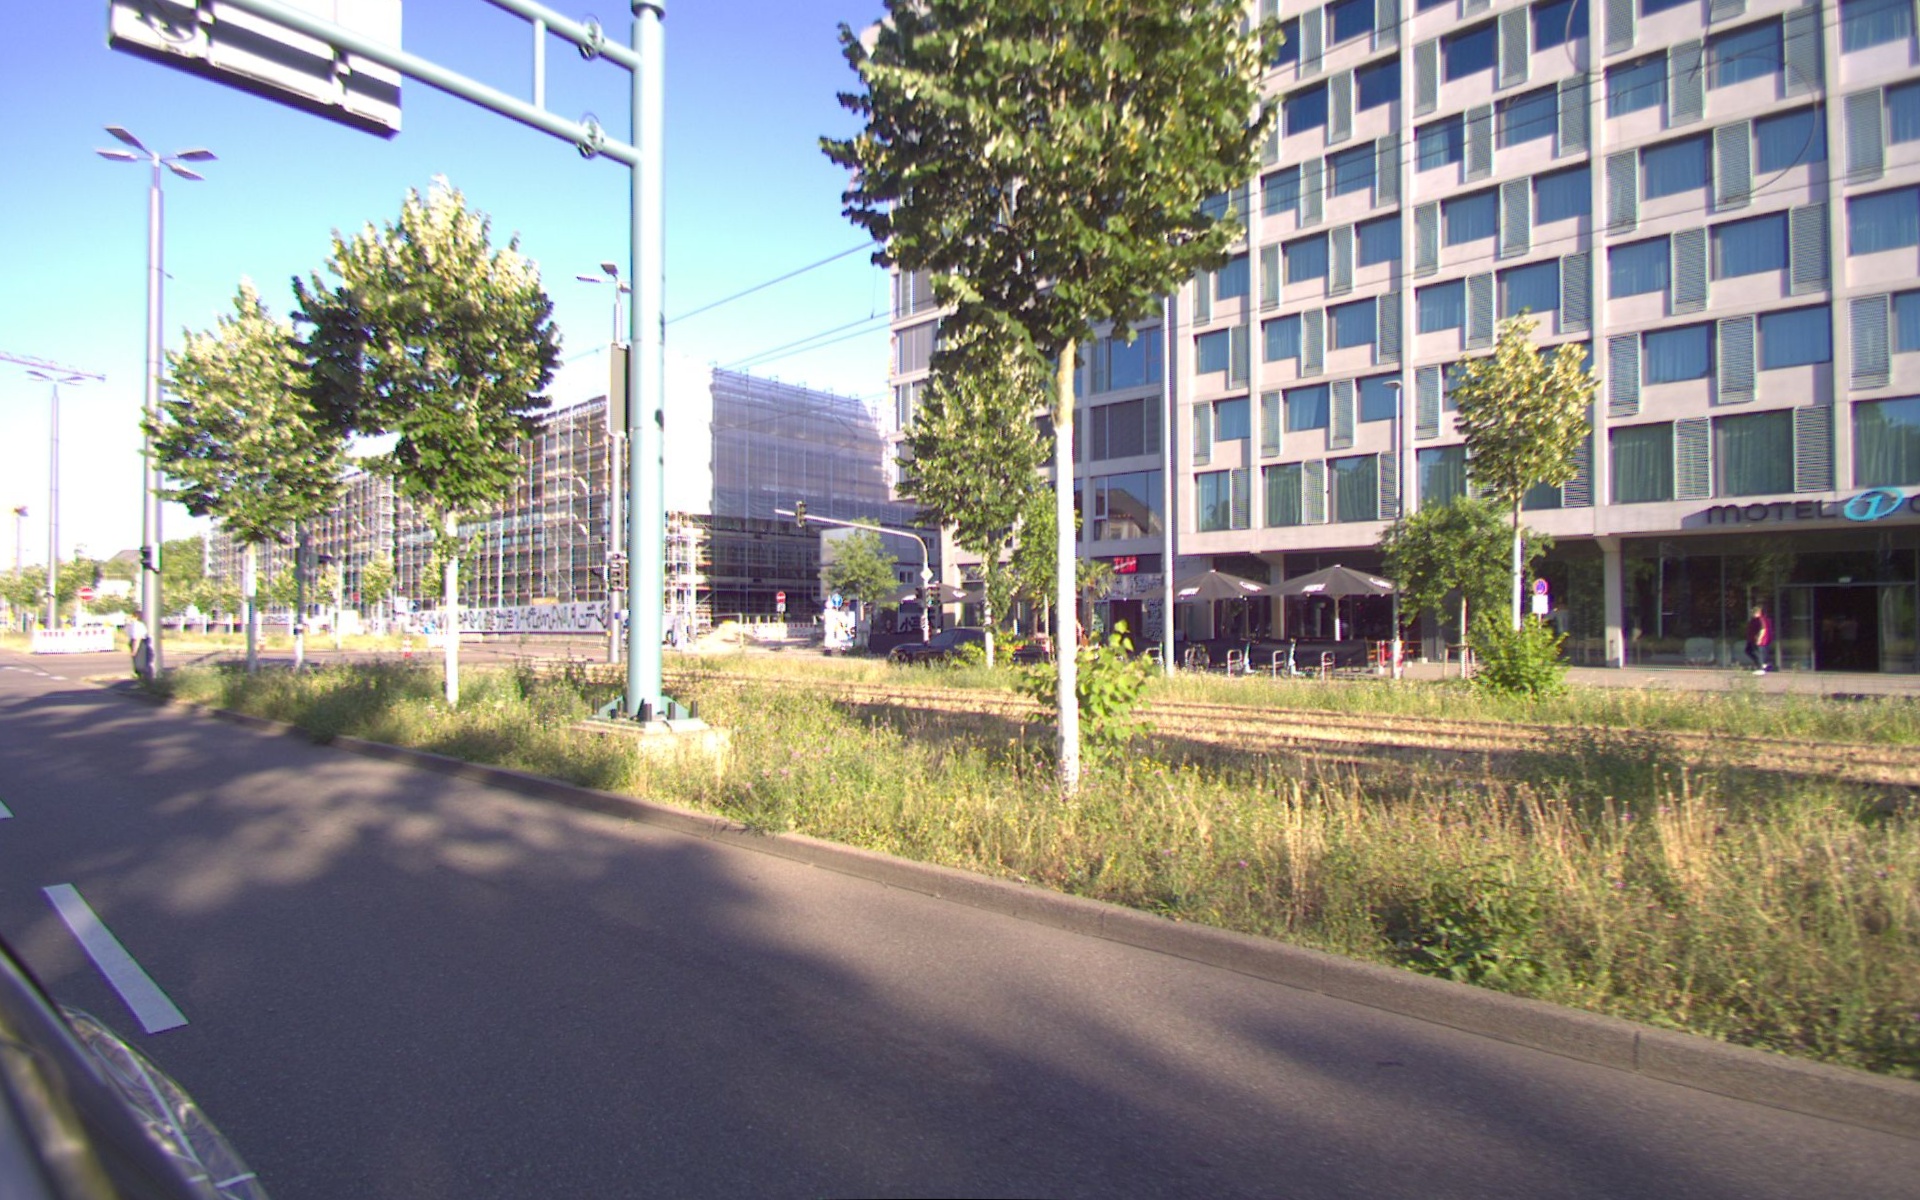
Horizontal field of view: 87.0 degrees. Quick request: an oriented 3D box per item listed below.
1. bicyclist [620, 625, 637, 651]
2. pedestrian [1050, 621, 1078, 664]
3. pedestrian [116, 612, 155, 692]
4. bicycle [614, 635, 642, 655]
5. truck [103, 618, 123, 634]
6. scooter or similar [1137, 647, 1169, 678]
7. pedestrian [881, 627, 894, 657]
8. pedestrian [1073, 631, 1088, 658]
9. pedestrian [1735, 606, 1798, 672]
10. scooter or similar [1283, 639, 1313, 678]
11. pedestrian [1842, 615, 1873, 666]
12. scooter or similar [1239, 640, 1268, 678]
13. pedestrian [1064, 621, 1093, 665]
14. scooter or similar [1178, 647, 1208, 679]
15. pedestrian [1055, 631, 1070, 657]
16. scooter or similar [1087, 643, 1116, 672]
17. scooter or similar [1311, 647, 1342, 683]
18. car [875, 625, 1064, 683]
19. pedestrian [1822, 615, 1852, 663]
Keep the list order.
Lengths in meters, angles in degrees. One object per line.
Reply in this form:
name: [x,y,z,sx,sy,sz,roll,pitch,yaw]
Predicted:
bicyclist: [-18.951,2.143,57.832,0.851,1.476,0.618,-2,-2,43]
pedestrian: [4.284,1.753,41.687,0.858,1.734,0.805,1,-2,-39]
pedestrian: [-17.976,1.116,22.061,0.591,1.712,0.715,1,-2,-43]
bicycle: [-18.969,2.566,57.826,2.078,1.075,0.618,-2,-2,43]
truck: [-143.082,4.447,170.944,4.741,2.593,2.114,-2,-3,44]
scooter or similar: [6.616,2.138,34.689,0.511,1.027,1.230,-2,-3,42]
pedestrian: [-3.631,2.107,50.995,0.570,1.510,0.587,0,-2,6]
pedestrian: [5.524,2.021,46.454,0.497,1.231,0.427,-2,-2,42]
pedestrian: [23.282,1.120,29.235,0.956,1.885,0.981,0,-2,-12]
scooter or similar: [10.531,1.817,31.531,0.406,1.181,1.230,-2,-3,42]
pedestrian: [31.105,1.393,35.062,0.764,1.710,0.845,-2,-2,43]
scooter or similar: [9.452,1.877,32.567,0.406,1.181,1.230,-2,-3,42]
pedestrian: [4.821,1.738,41.096,0.858,1.734,0.805,1,-2,-39]
scooter or similar: [7.763,2.088,33.683,0.435,1.027,1.230,-2,-3,42]
pedestrian: [4.775,2.049,47.126,0.497,1.231,0.427,-2,-2,42]
scooter or similar: [5.111,2.083,36.598,0.406,1.014,1.230,-2,-3,42]
scooter or similar: [11.075,1.949,30.574,0.435,1.027,1.230,-2,-3,42]
car: [0.165,1.340,26.072,4.848,1.354,1.871,-2,-2,42]
pedestrian: [31.410,1.397,36.242,0.764,1.710,0.845,-2,-2,43]
